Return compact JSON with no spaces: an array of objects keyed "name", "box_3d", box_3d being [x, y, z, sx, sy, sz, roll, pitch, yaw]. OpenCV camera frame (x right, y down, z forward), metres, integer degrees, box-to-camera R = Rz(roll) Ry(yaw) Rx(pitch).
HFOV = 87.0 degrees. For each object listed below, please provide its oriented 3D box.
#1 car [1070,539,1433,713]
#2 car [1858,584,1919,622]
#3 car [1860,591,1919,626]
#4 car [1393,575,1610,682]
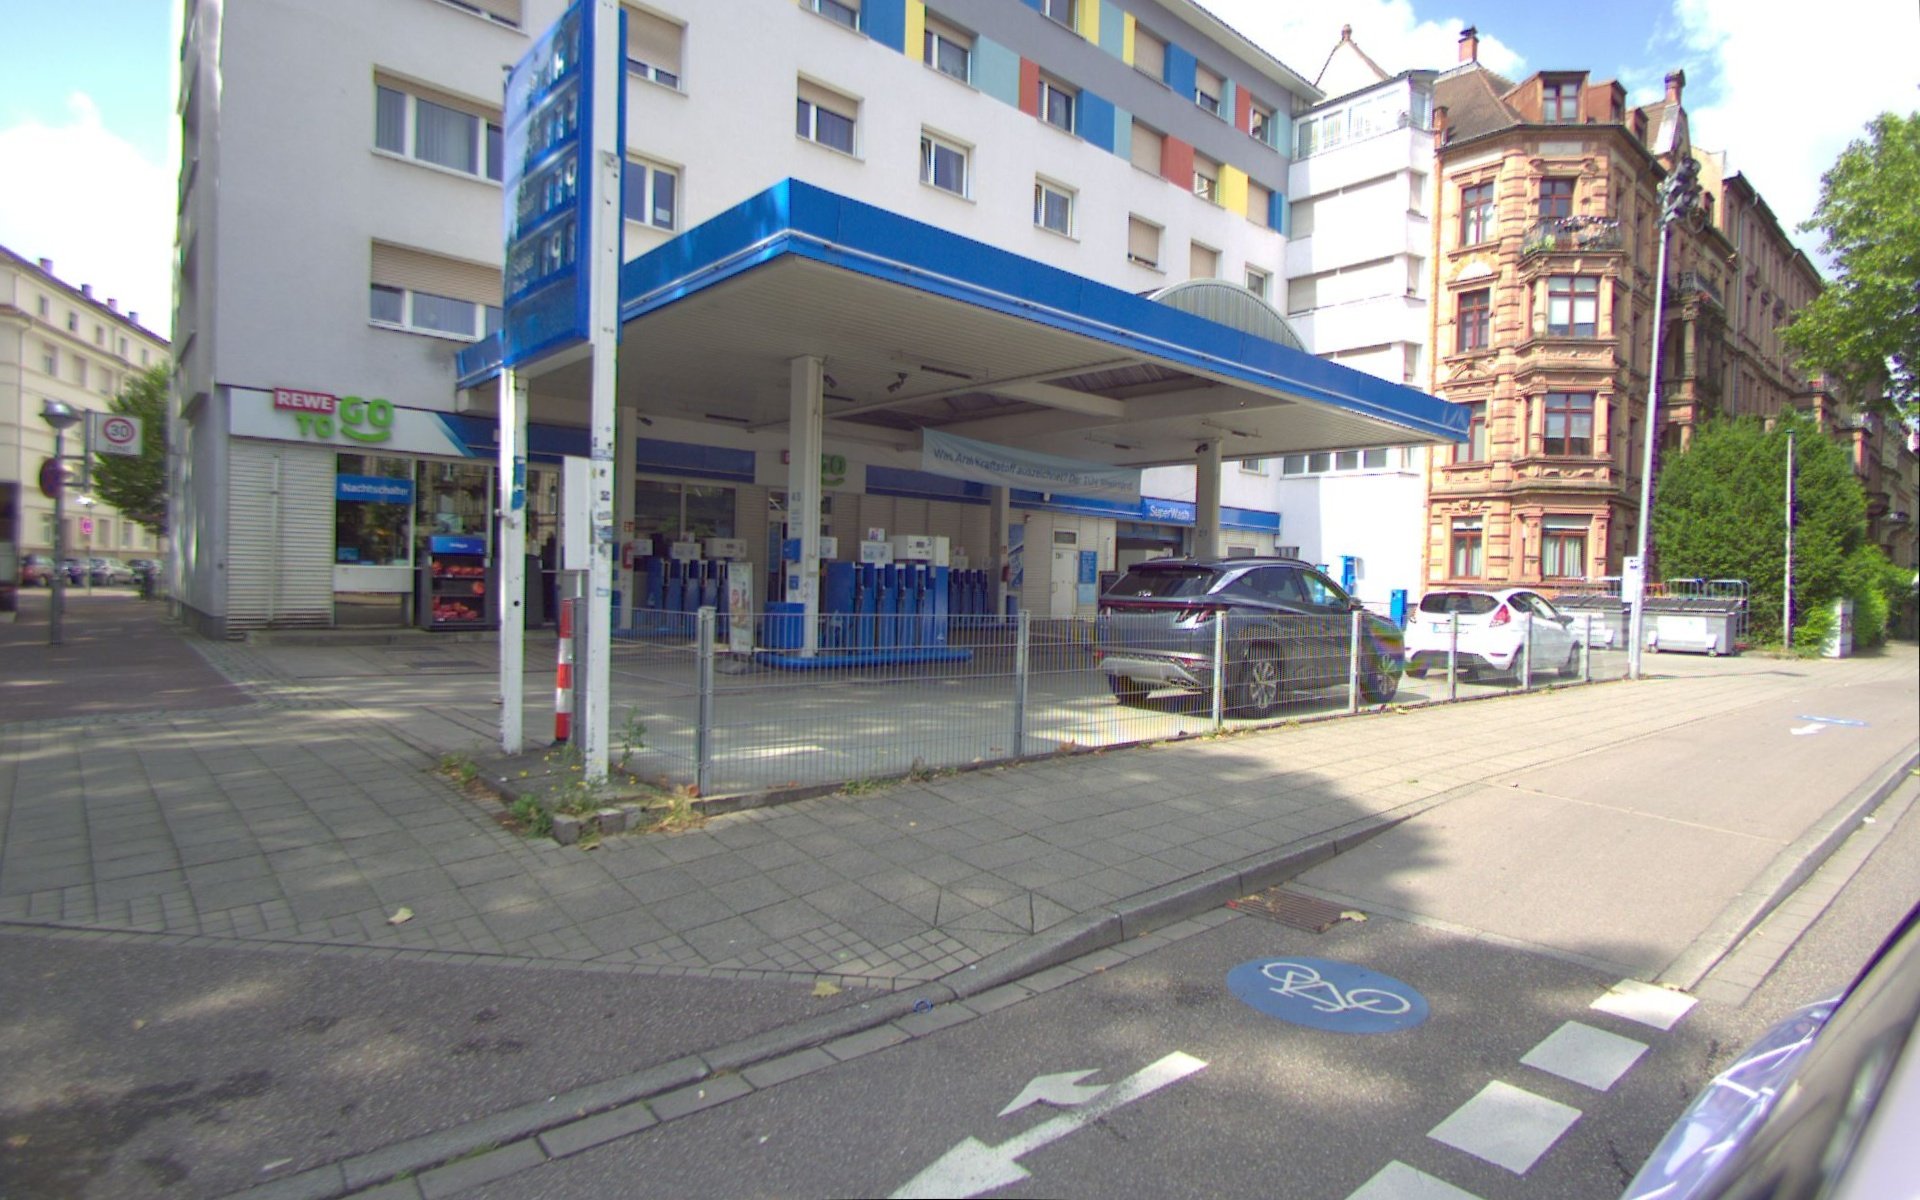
[{"name":"car","box_3d":[3.469,0.235,11.573,4.501,1.622,1.809,1,1,-41]},{"name":"car","box_3d":[54.487,0.222,57.953,1.951,1.962,4.402,1,4,-45]},{"name":"car","box_3d":[50.974,0.455,53.714,4.716,1.805,1.976,1,1,41]},{"name":"car","box_3d":[8.658,0.389,16.051,3.932,1.473,1.808,1,1,-42]}]
